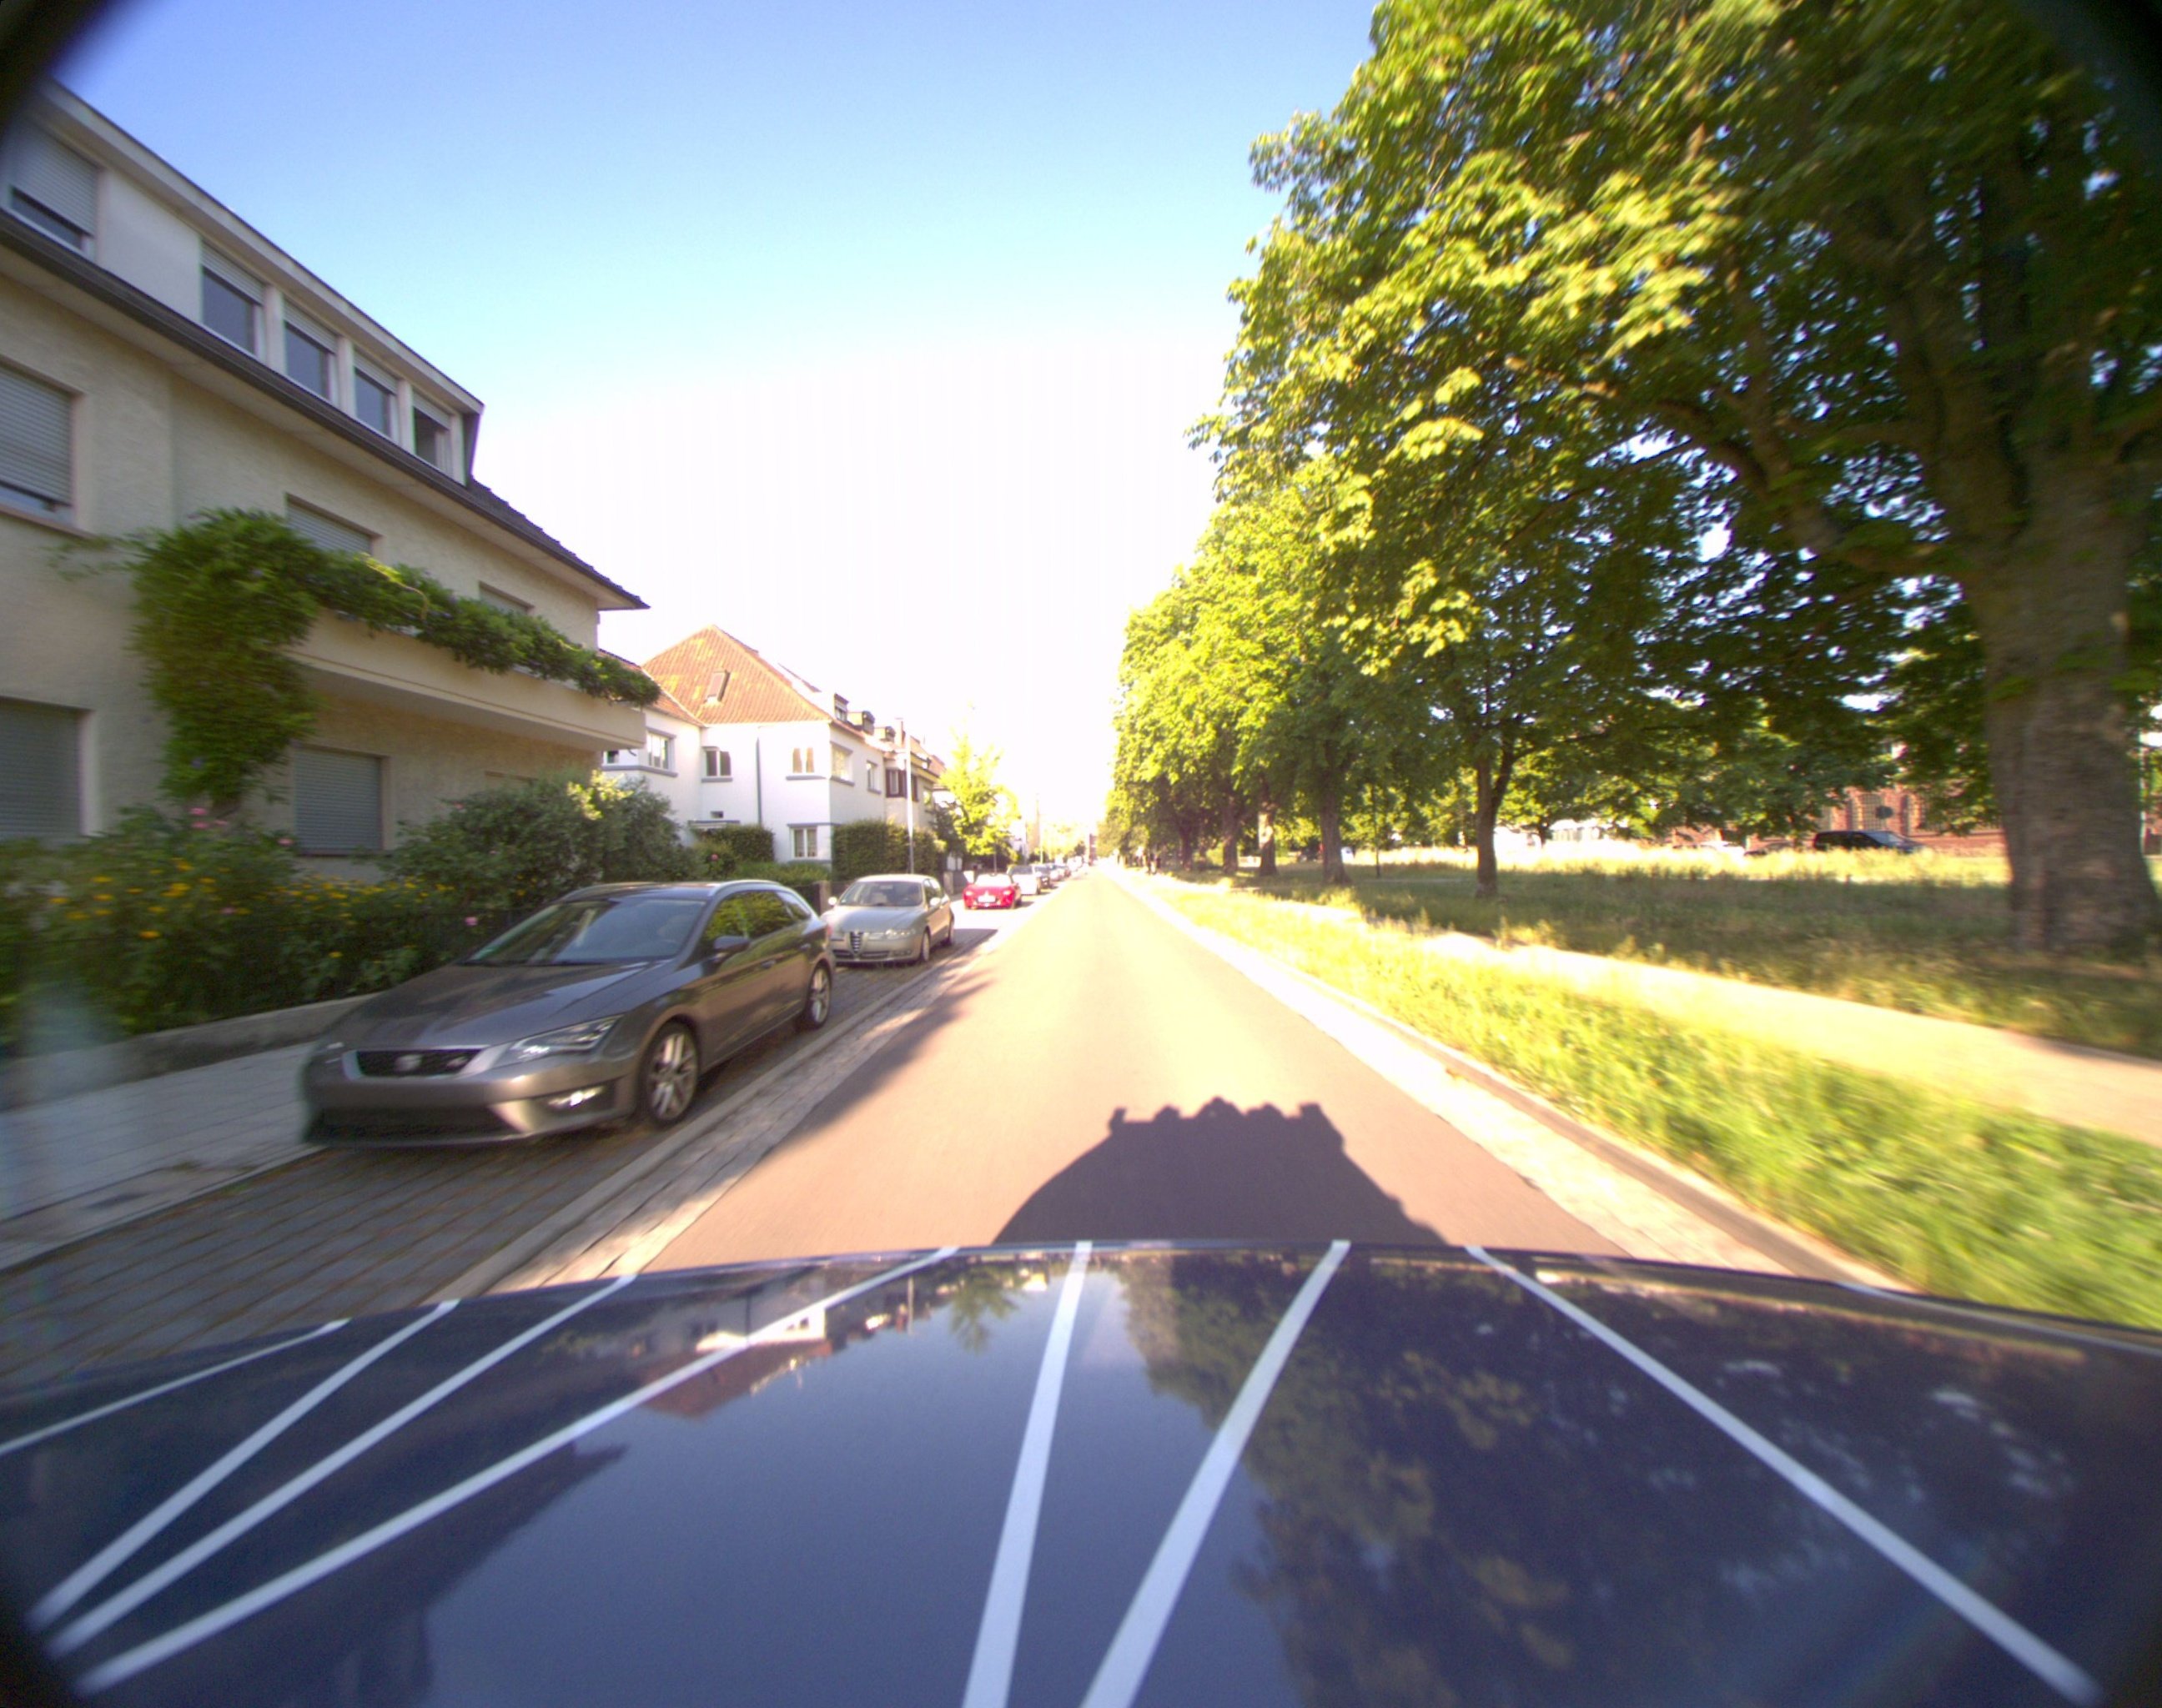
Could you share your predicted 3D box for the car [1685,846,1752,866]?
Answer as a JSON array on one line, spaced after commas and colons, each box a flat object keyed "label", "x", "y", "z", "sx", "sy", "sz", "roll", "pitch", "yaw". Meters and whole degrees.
[{"label": "car", "x": 43.413, "y": 0.145, "z": 51.813, "sx": 1.585, "sy": 1.267, "sz": 3.581, "roll": -2, "pitch": 0, "yaw": 2}]

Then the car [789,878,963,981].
[{"label": "car", "x": -3.250, "y": 1.148, "z": 12.937, "sx": 1.798, "sy": 1.372, "sz": 4.079, "roll": 1, "pitch": -1, "yaw": 1}]

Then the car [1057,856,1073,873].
[{"label": "car", "x": -2.077, "y": 1.350, "z": 99.747, "sx": 1.844, "sy": 2.196, "sz": 3.764, "roll": -2, "pitch": 0, "yaw": 1}]

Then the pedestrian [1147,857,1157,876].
[{"label": "pedestrian", "x": 6.193, "y": 1.098, "z": 66.055, "sx": 0.625, "sy": 1.621, "sz": 0.606, "roll": -2, "pitch": 1, "yaw": 27}]

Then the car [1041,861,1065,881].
[{"label": "car", "x": -2.300, "y": 1.390, "z": 63.164, "sx": 1.665, "sy": 1.526, "sz": 3.833, "roll": 0, "pitch": 0, "yaw": 2}]

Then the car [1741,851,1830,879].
[{"label": "car", "x": 43.071, "y": 0.662, "z": 46.578, "sx": 1.766, "sy": 1.619, "sz": 4.000, "roll": -2, "pitch": -1, "yaw": 1}]

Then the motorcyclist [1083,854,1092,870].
[{"label": "motorcyclist", "x": 0.858, "y": 1.029, "z": 100.350, "sx": 0.961, "sy": 2.002, "sz": 1.274, "roll": -3, "pitch": 0, "yaw": 0}]

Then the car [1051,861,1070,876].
[{"label": "car", "x": -2.172, "y": 1.545, "z": 82.013, "sx": 1.844, "sy": 1.471, "sz": 3.764, "roll": -2, "pitch": -1, "yaw": 1}]

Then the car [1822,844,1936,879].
[{"label": "car", "x": 37.299, "y": 0.325, "z": 35.643, "sx": 1.585, "sy": 1.472, "sz": 3.640, "roll": -2, "pitch": 0, "yaw": 2}]

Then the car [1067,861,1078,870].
[{"label": "car", "x": -1.443, "y": 2.020, "z": 131.140, "sx": 1.844, "sy": 1.471, "sz": 3.764, "roll": -2, "pitch": -1, "yaw": 0}]

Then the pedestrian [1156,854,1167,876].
[{"label": "pedestrian", "x": 7.006, "y": 0.935, "z": 66.048, "sx": 0.625, "sy": 1.840, "sz": 0.606, "roll": -2, "pitch": 1, "yaw": 40}]

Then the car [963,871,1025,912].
[{"label": "car", "x": -2.994, "y": 1.278, "z": 26.975, "sx": 1.702, "sy": 1.250, "sz": 3.880, "roll": -1, "pitch": 0, "yaw": 1}]

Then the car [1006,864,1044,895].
[{"label": "car", "x": -2.684, "y": 1.210, "z": 37.201, "sx": 1.508, "sy": 1.471, "sz": 3.493, "roll": 0, "pitch": 0, "yaw": 1}]

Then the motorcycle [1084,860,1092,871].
[{"label": "motorcycle", "x": 0.907, "y": 1.549, "z": 100.436, "sx": 1.077, "sy": 1.373, "sz": 2.463, "roll": -3, "pitch": 0, "yaw": 0}]

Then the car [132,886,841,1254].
[{"label": "car", "x": -3.332, "y": 1.058, "z": 5.507, "sx": 1.798, "sy": 1.485, "sz": 4.194, "roll": 1, "pitch": -1, "yaw": 1}]

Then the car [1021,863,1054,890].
[{"label": "car", "x": -2.598, "y": 1.331, "z": 46.065, "sx": 1.745, "sy": 1.471, "sz": 4.057, "roll": -2, "pitch": -1, "yaw": 0}]
